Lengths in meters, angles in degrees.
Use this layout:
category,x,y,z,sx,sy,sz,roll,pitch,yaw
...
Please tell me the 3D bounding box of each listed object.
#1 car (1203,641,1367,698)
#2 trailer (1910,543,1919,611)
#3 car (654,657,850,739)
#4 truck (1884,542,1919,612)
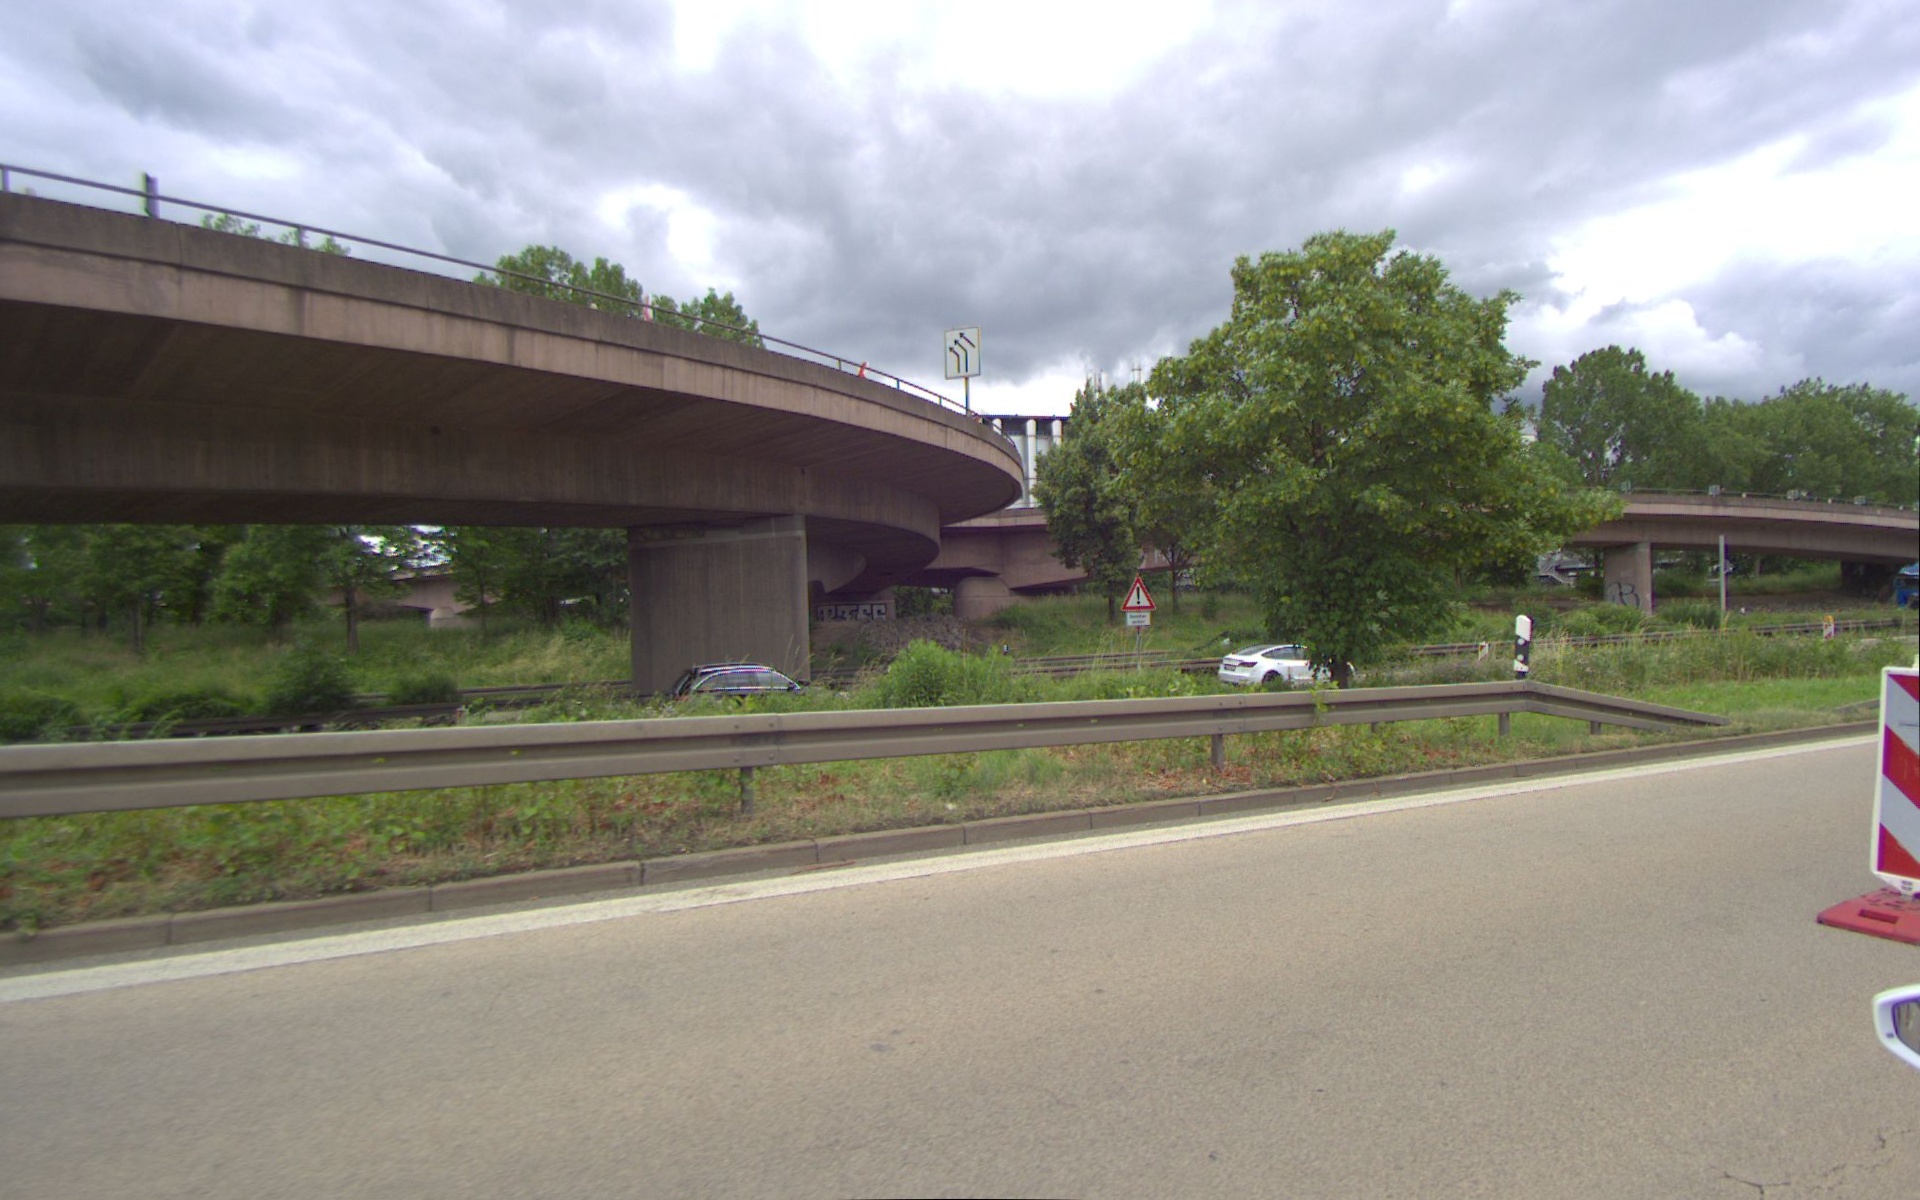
category,x,y,z,sx,sy,sz,roll,pitch,yaw
car,10.203,2.131,31.547,4.729,1.475,1.990,-1,0,-21
trailer,68.339,-1.605,66.242,13.773,4.352,2.766,-1,0,-22
car,-5.171,2.353,24.940,4.509,1.636,2.034,-1,0,-21
truck,61.723,-1.487,63.539,5.421,4.329,2.748,-1,0,-21
